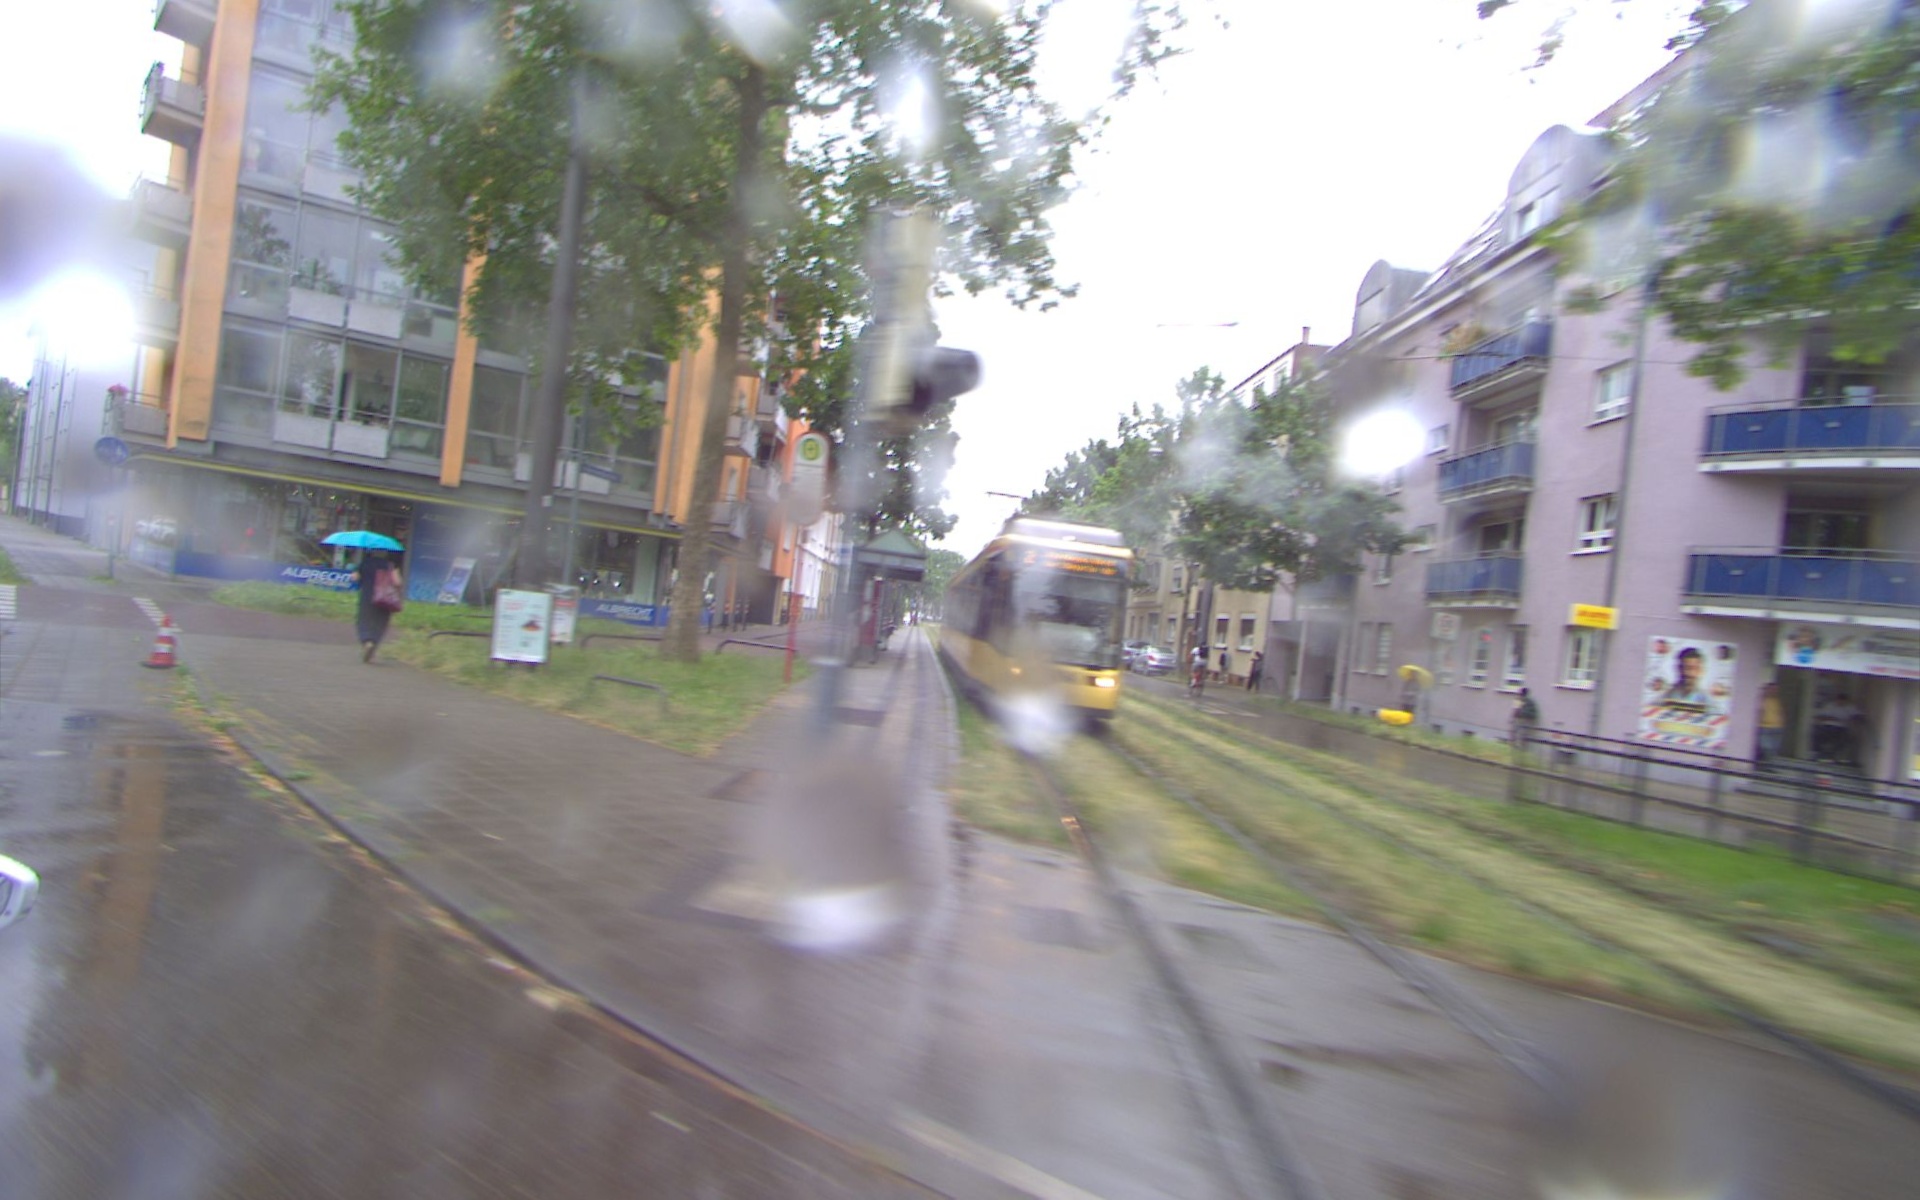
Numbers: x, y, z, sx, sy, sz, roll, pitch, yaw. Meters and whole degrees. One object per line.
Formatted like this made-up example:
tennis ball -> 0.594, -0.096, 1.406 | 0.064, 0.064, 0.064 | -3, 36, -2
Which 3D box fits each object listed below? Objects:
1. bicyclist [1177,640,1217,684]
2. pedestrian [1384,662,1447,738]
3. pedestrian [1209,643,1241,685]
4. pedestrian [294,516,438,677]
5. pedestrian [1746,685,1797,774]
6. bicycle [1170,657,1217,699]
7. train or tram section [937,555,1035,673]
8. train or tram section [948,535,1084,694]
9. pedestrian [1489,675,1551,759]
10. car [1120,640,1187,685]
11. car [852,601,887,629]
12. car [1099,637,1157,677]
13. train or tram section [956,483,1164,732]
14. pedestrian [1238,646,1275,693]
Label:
bicyclist -> 8.012, 2.099, 34.052 | 0.731, 1.325, 1.073 | 6, 0, -15
pedestrian -> 11.377, 2.476, 25.164 | 0.938, 1.718, 0.921 | 7, 0, -4
pedestrian -> 11.712, 2.803, 44.467 | 0.905, 1.718, 0.955 | 7, 0, -3
pedestrian -> -7.734, -0.050, 13.092 | 1.167, 1.887, 1.368 | 7, -1, -44
pedestrian -> 15.555, 2.464, 19.288 | 0.464, 1.621, 0.594 | 7, 0, 23
bicycle -> 7.902, 2.621, 34.137 | 0.740, 1.187, 2.038 | 7, 0, -8
train or tram section -> 0.710, 0.575, 36.806 | 2.598, 3.390, 9.989 | 7, -2, -2
train or tram section -> 1.254, 0.456, 27.637 | 2.598, 3.390, 8.377 | 7, -2, -2
pedestrian -> 12.532, 2.609, 22.526 | 0.809, 1.718, 0.684 | 7, 0, -7
car -> 8.949, 2.886, 46.853 | 1.964, 1.693, 3.999 | 7, -1, -3
car -> -5.464, 0.922, 60.942 | 1.771, 1.415, 3.999 | 7, -1, -2
car -> 8.588, 2.906, 51.772 | 1.964, 1.693, 3.999 | 7, -1, -3
train or tram section -> 1.490, 0.235, 19.266 | 2.598, 3.408, 8.379 | 7, -2, -1
pedestrian -> 11.655, 2.725, 39.593 | 0.905, 1.718, 0.955 | 7, 0, -6
